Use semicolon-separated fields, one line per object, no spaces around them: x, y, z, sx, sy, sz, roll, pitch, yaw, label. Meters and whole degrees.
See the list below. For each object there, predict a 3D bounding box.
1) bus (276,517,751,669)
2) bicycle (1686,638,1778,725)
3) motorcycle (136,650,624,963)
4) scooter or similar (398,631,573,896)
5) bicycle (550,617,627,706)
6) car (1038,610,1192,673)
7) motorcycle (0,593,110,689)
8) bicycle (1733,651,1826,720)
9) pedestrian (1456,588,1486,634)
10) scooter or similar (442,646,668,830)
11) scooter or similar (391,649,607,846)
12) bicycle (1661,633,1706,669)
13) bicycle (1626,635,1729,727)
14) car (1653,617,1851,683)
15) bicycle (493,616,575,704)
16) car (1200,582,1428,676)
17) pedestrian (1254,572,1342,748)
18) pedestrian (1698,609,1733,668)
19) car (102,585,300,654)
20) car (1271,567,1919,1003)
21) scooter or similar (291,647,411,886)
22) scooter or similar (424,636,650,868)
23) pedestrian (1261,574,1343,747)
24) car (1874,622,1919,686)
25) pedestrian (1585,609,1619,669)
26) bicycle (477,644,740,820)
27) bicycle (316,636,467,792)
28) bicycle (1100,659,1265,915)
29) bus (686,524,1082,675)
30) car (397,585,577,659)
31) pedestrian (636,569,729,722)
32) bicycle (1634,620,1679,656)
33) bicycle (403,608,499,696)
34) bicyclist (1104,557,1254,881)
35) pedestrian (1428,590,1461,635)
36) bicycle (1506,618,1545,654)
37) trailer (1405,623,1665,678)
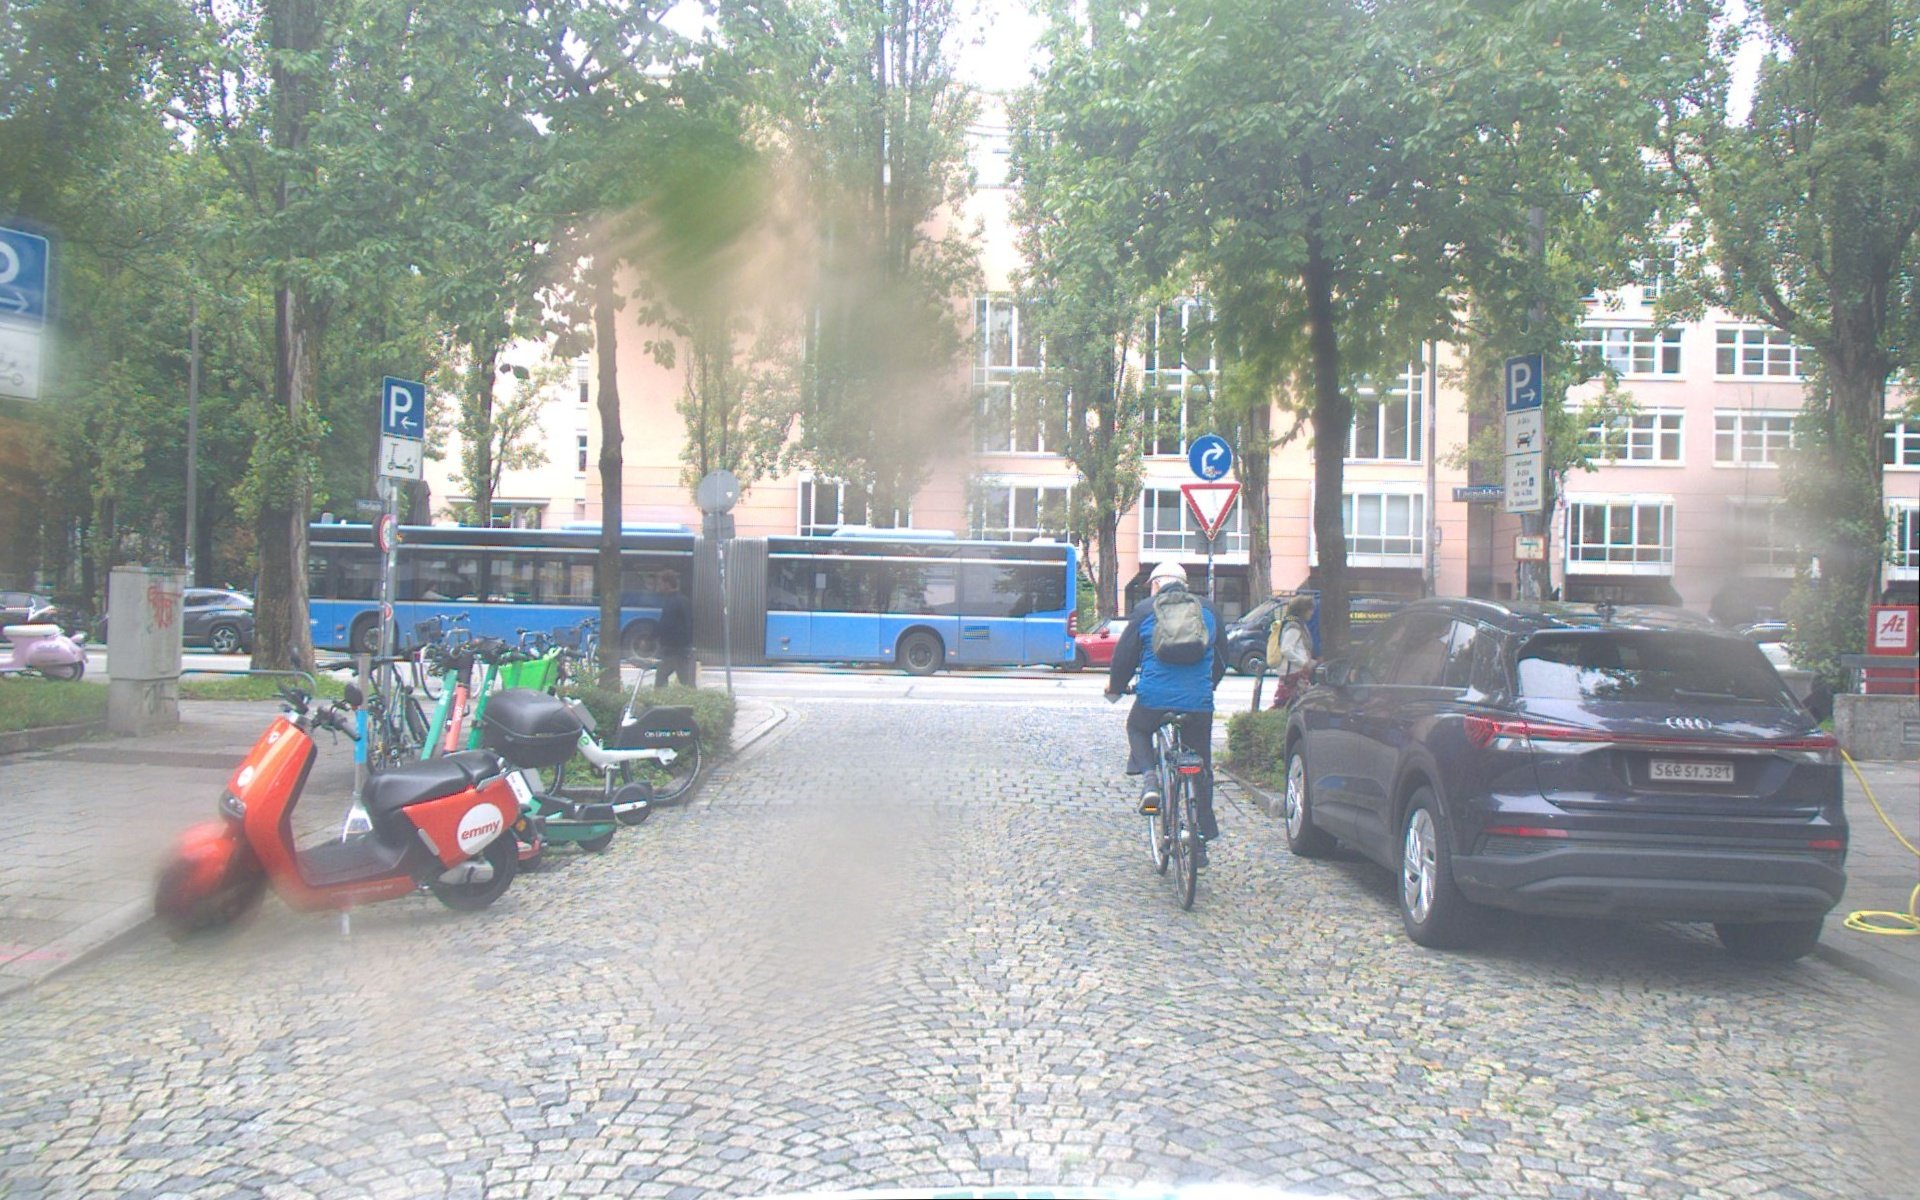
-9.570;-0.145;36.286;9.565;3.105;2.926;1;0;-1;bus
10.043;1.038;21.577;0.501;1.056;1.834;1;-1;5;bicycle
-2.601;0.857;7.595;1.975;1.217;0.759;1;0;-44;motorcycle
-2.526;0.827;8.926;0.319;1.295;1.359;1;0;10;scooter or similar
-4.908;0.795;21.934;0.479;1.112;1.704;1;0;5;bicycle
3.892;1.033;41.833;3.780;1.474;1.679;1;0;3;car
-12.208;0.519;21.490;1.975;1.217;0.619;1;0;-44;motorcycle
10.741;1.105;21.736;0.460;0.832;1.834;1;-1;5;bicycle
16.034;0.344;51.932;0.714;1.393;0.709;1;0;1;pedestrian
-2.690;0.897;11.017;1.407;1.164;0.367;1;0;-24;scooter or similar
-2.851;0.905;10.261;1.221;1.164;0.327;1;0;0;scooter or similar
24.124;1.693;55.146;0.660;1.144;1.989;1;0;1;bicycle
9.323;1.030;21.551;0.501;1.124;1.931;1;-1;0;bicycle
19.866;1.255;41.618;4.132;1.569;1.807;1;-2;2;car
-5.671;0.783;22.100;0.479;1.112;1.704;1;0;5;bicycle
8.910;0.709;41.971;5.366;2.235;2.024;1;0;1;car
3.366;0.587;16.511;0.825;1.709;0.611;1;0;10;pedestrian
23.014;1.166;50.381;0.714;1.743;0.709;1;0;1;pedestrian
-19.130;0.473;41.781;4.136;1.629;1.794;1;0;0;car
3.069;0.760;8.837;1.881;1.730;4.200;2;0;-2;car
-3.421;0.886;9.249;0.385;1.200;1.238;1;0;-31;scooter or similar
-2.487;0.867;9.767;1.234;1.295;0.324;1;0;-31;scooter or similar
3.523;0.610;17.082;0.786;1.726;0.664;1;0;10;pedestrian
25.897;1.390;42.053;4.223;1.569;1.999;1;0;-1;car
18.930;1.151;48.801;0.714;1.743;0.709;1;0;1;pedestrian
-2.488;0.904;11.793;1.739;1.163;0.548;1;0;-31;bicycle
-4.219;0.813;12.395;0.541;1.040;1.762;1;0;-1;bicycle
1.162;0.942;8.999;0.702;1.168;1.901;1;0;2;bicycle
-1.595;-0.016;36.335;8.315;3.105;2.927;1;0;0;bus
-11.926;0.567;41.881;3.982;1.762;1.793;1;-2;-1;car
-3.226;0.522;19.291;0.936;1.741;0.858;0;0;-1;pedestrian
23.211;1.250;55.135;0.660;1.144;2.107;1;0;1;bicycle
-6.759;0.665;22.053;0.479;1.112;1.985;1;0;5;bicycle
1.156;0.609;8.867;0.707;1.647;0.757;1;0;3;bicyclist
15.228;0.405;51.972;0.699;1.393;0.725;1;-1;-29;pedestrian
18.991;1.206;55.607;0.660;1.144;1.989;1;0;1;bicycle
14.483;1.262;41.938;5.787;1.220;2.405;1;0;1;trailer
